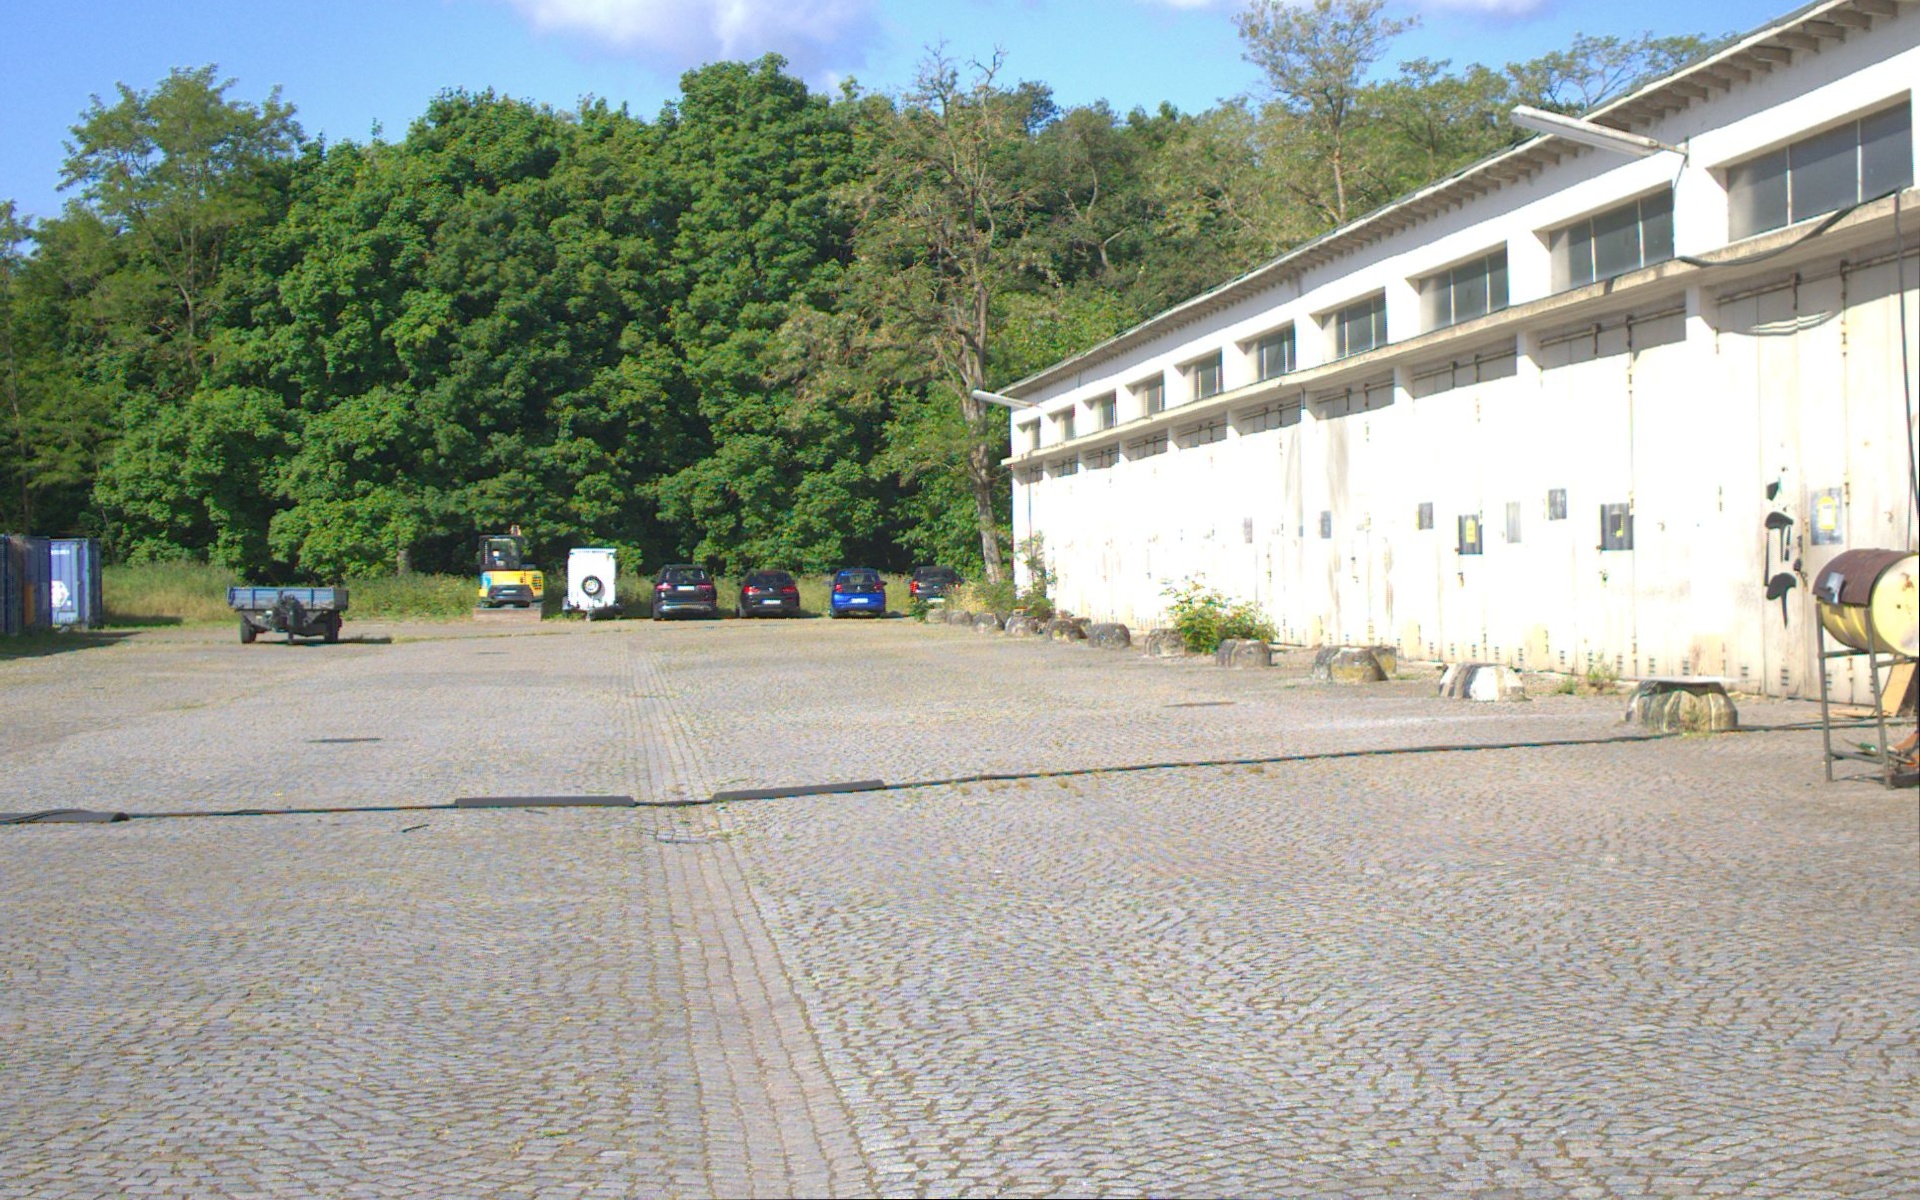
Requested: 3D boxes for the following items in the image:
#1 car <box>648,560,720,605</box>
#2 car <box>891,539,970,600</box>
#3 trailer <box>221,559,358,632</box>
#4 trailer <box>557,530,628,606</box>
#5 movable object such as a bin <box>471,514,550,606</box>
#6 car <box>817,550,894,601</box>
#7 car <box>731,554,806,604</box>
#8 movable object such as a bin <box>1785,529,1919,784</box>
[{"bbox_3d":[-8.195,-0.543,101.770,1.993,1.254,4.001,-2,1,-6],"label":"car"},{"bbox_3d":[-0.912,-0.938,104.061,1.993,1.766,4.001,-2,1,-6],"label":"car"},{"bbox_3d":[-16.245,-0.125,83.622,2.791,1.640,5.622,-2,1,-7],"label":"trailer"},{"bbox_3d":[-10.988,-0.963,102.745,1.993,2.155,4.432,-2,1,-6],"label":"trailer"},{"bbox_3d":[-13.523,-1.195,103.267,2.231,2.648,4.001,-2,1,-8],"label":"movable object such as a bin"},{"bbox_3d":[-3.136,-0.743,102.605,1.993,1.461,4.001,-2,1,-6],"label":"car"},{"bbox_3d":[-5.717,-0.637,102.376,1.993,1.419,4.001,-2,1,-6],"label":"car"},{"bbox_3d":[5.303,0.299,19.473,0.874,1.396,1.102,-1,1,-7],"label":"movable object such as a bin"}]
